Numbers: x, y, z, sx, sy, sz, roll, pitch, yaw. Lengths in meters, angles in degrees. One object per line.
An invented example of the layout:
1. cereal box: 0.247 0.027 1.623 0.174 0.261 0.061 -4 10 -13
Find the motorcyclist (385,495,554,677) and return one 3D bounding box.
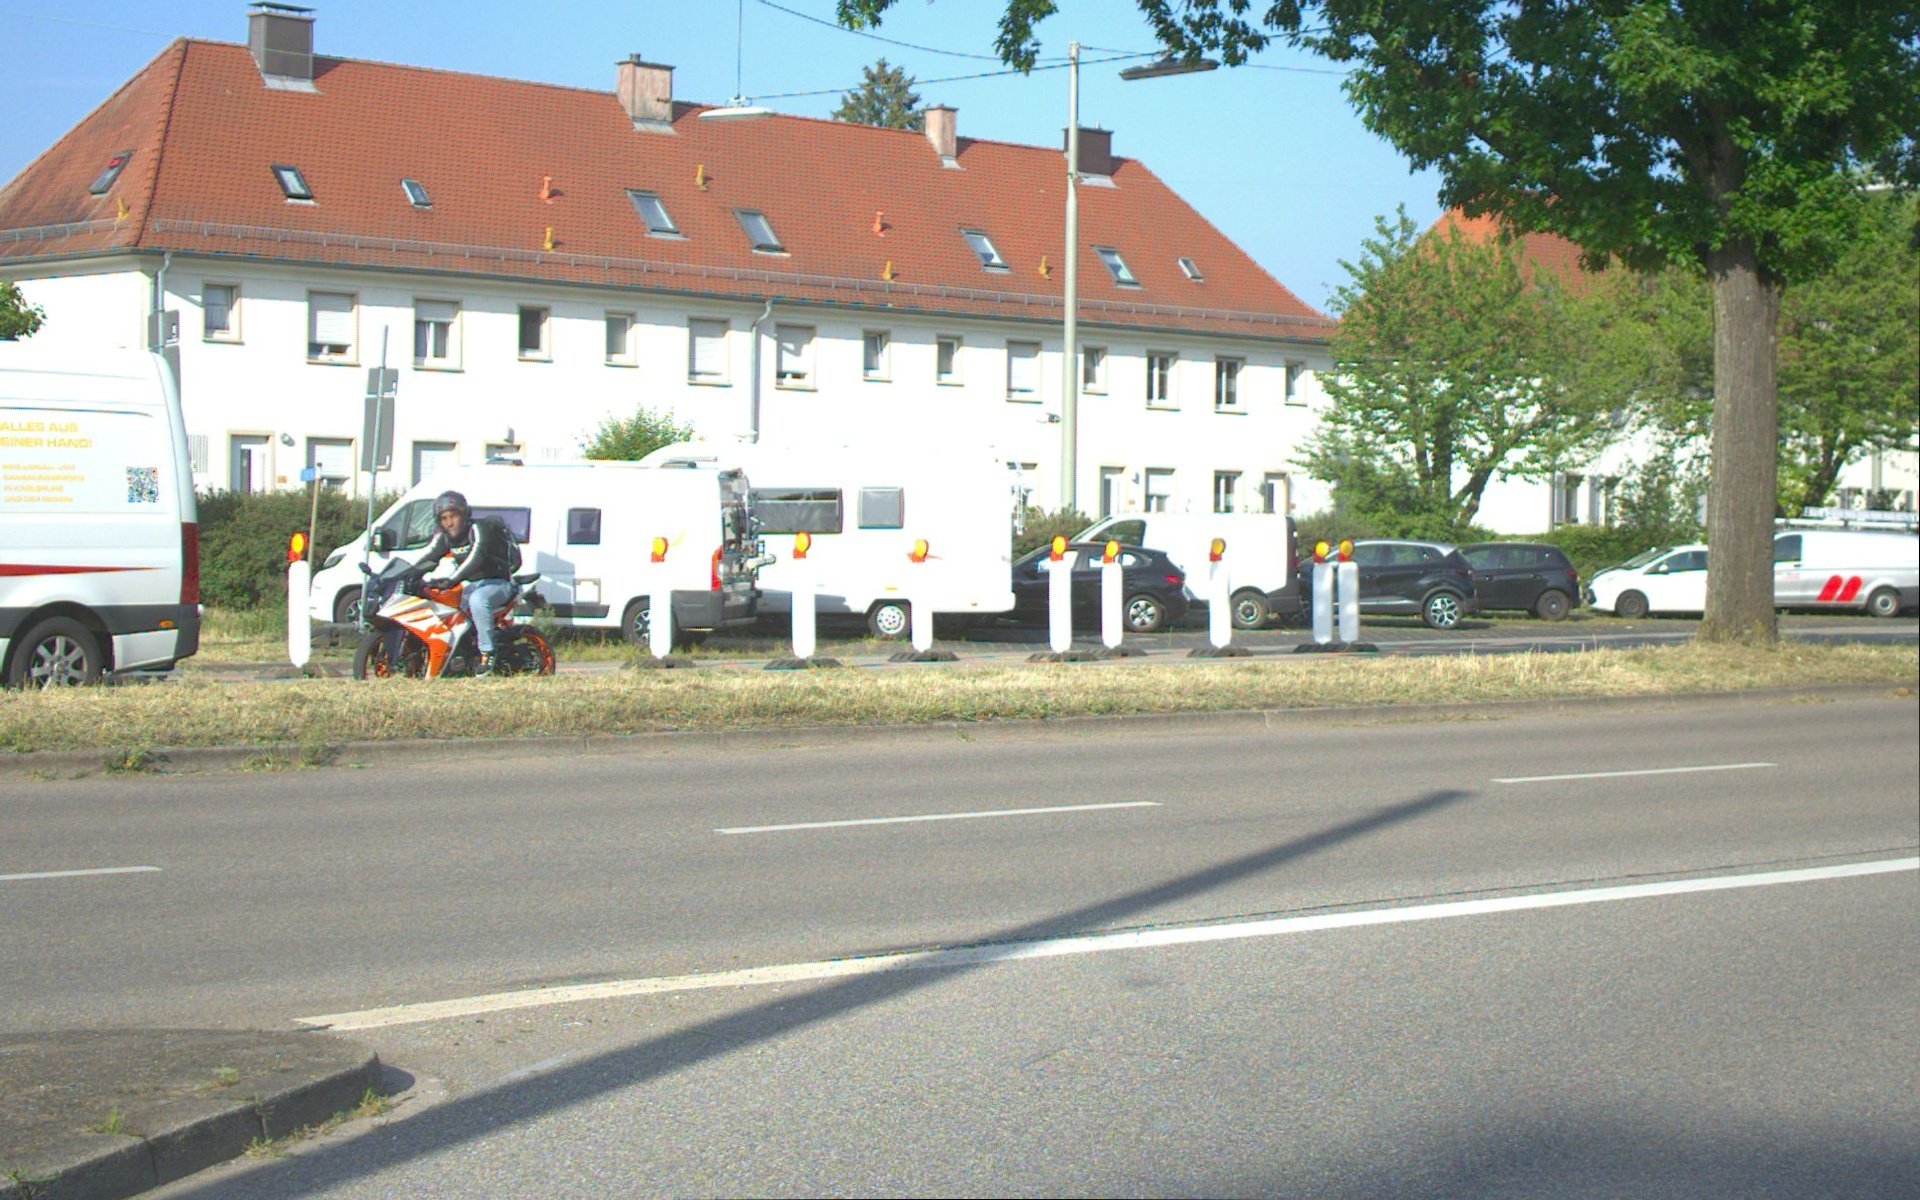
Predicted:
1. motorcyclist: -3.724 -0.111 26.134 0.679 1.347 1.066 2 1 44

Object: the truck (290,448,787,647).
1. truck: -5.746 -0.733 47.203 6.339 2.515 2.277 2 1 10

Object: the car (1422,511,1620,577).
1. car: 14.995 -1.521 92.082 4.976 1.713 1.995 1 1 44

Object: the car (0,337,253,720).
1. car: -7.951 -0.499 23.016 1.999 2.575 6.212 2 1 45

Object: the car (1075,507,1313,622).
1. car: 3.998 -0.611 59.162 3.896 1.913 1.896 0 1 -1

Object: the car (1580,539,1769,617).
1. car: 14.249 -0.452 68.737 3.422 1.508 1.896 1 1 3

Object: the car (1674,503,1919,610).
1. car: 17.943 -0.927 73.319 4.963 2.224 2.000 0 1 -1

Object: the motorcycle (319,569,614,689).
1. motorcycle: -3.729 0.207 26.145 0.690 0.863 2.273 2 1 44

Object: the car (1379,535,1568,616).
1. car: 9.893 -0.488 66.470 3.422 1.508 1.896 1 1 3

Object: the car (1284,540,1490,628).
1. car: 7.599 -0.300 61.384 3.488 1.508 1.896 1 1 3

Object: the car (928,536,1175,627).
1. car: 1.489 -0.315 56.854 3.896 1.451 1.896 0 1 -4

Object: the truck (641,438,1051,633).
1. truck: -1.715 -0.966 51.961 6.058 2.844 1.896 0 1 -2
